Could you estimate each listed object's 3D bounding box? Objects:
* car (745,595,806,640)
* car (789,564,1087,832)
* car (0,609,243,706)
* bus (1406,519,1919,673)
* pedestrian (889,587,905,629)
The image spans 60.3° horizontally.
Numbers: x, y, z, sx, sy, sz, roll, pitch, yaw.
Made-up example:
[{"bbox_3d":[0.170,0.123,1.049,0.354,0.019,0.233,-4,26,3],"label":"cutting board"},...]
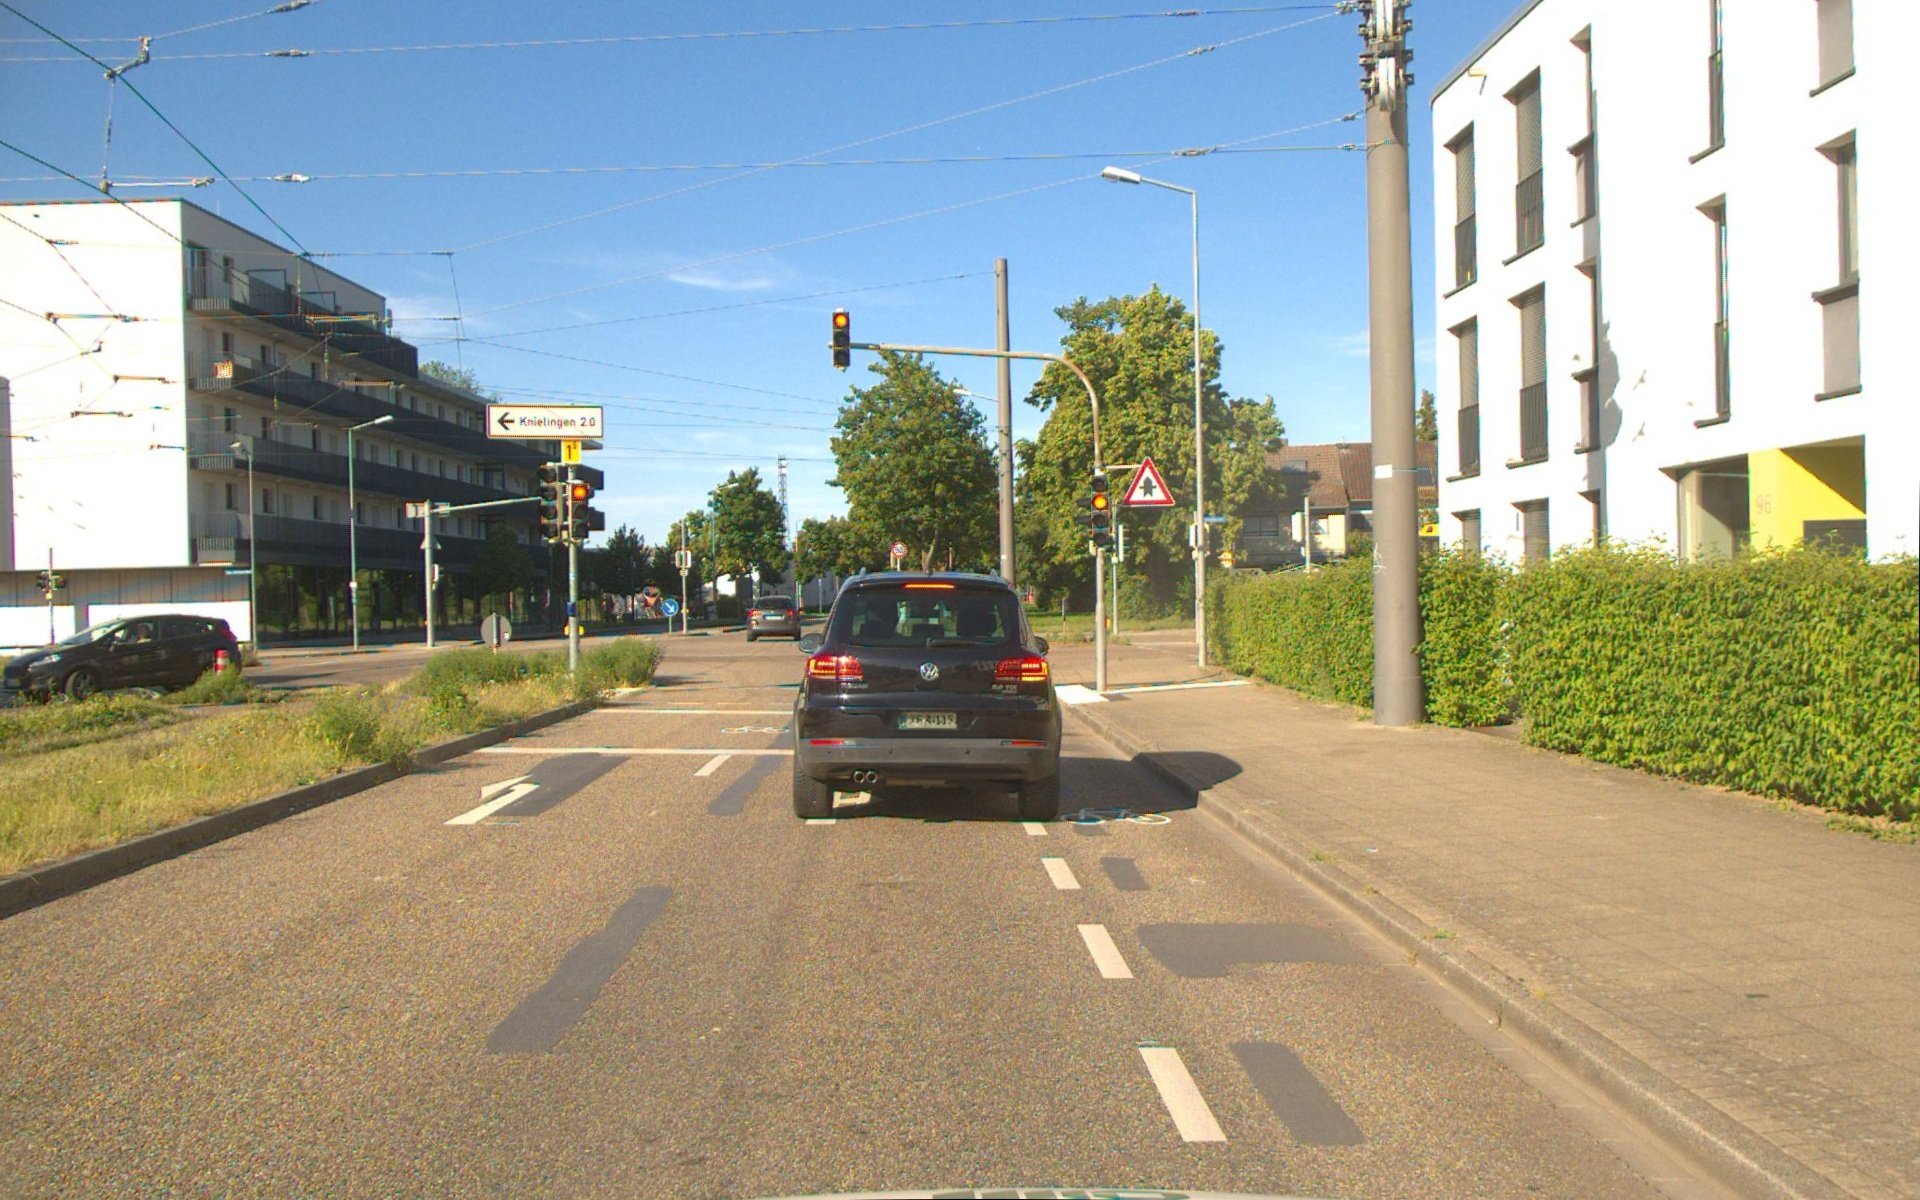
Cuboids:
[{"bbox_3d":[-6.074,0.556,54.734,1.716,1.411,3.998,0,0,-3],"label":"car"},{"bbox_3d":[-0.220,0.597,12.360,1.867,1.671,3.998,0,0,-3],"label":"car"},{"bbox_3d":[-15.092,0.996,29.726,1.672,1.455,3.732,-3,1,31],"label":"car"},{"bbox_3d":[18.820,-0.101,42.226,14.353,3.735,2.844,0,0,-6],"label":"bus"},{"bbox_3d":[-2.492,0.319,65.679,0.590,1.668,0.529,0,0,3],"label":"pedestrian"}]
